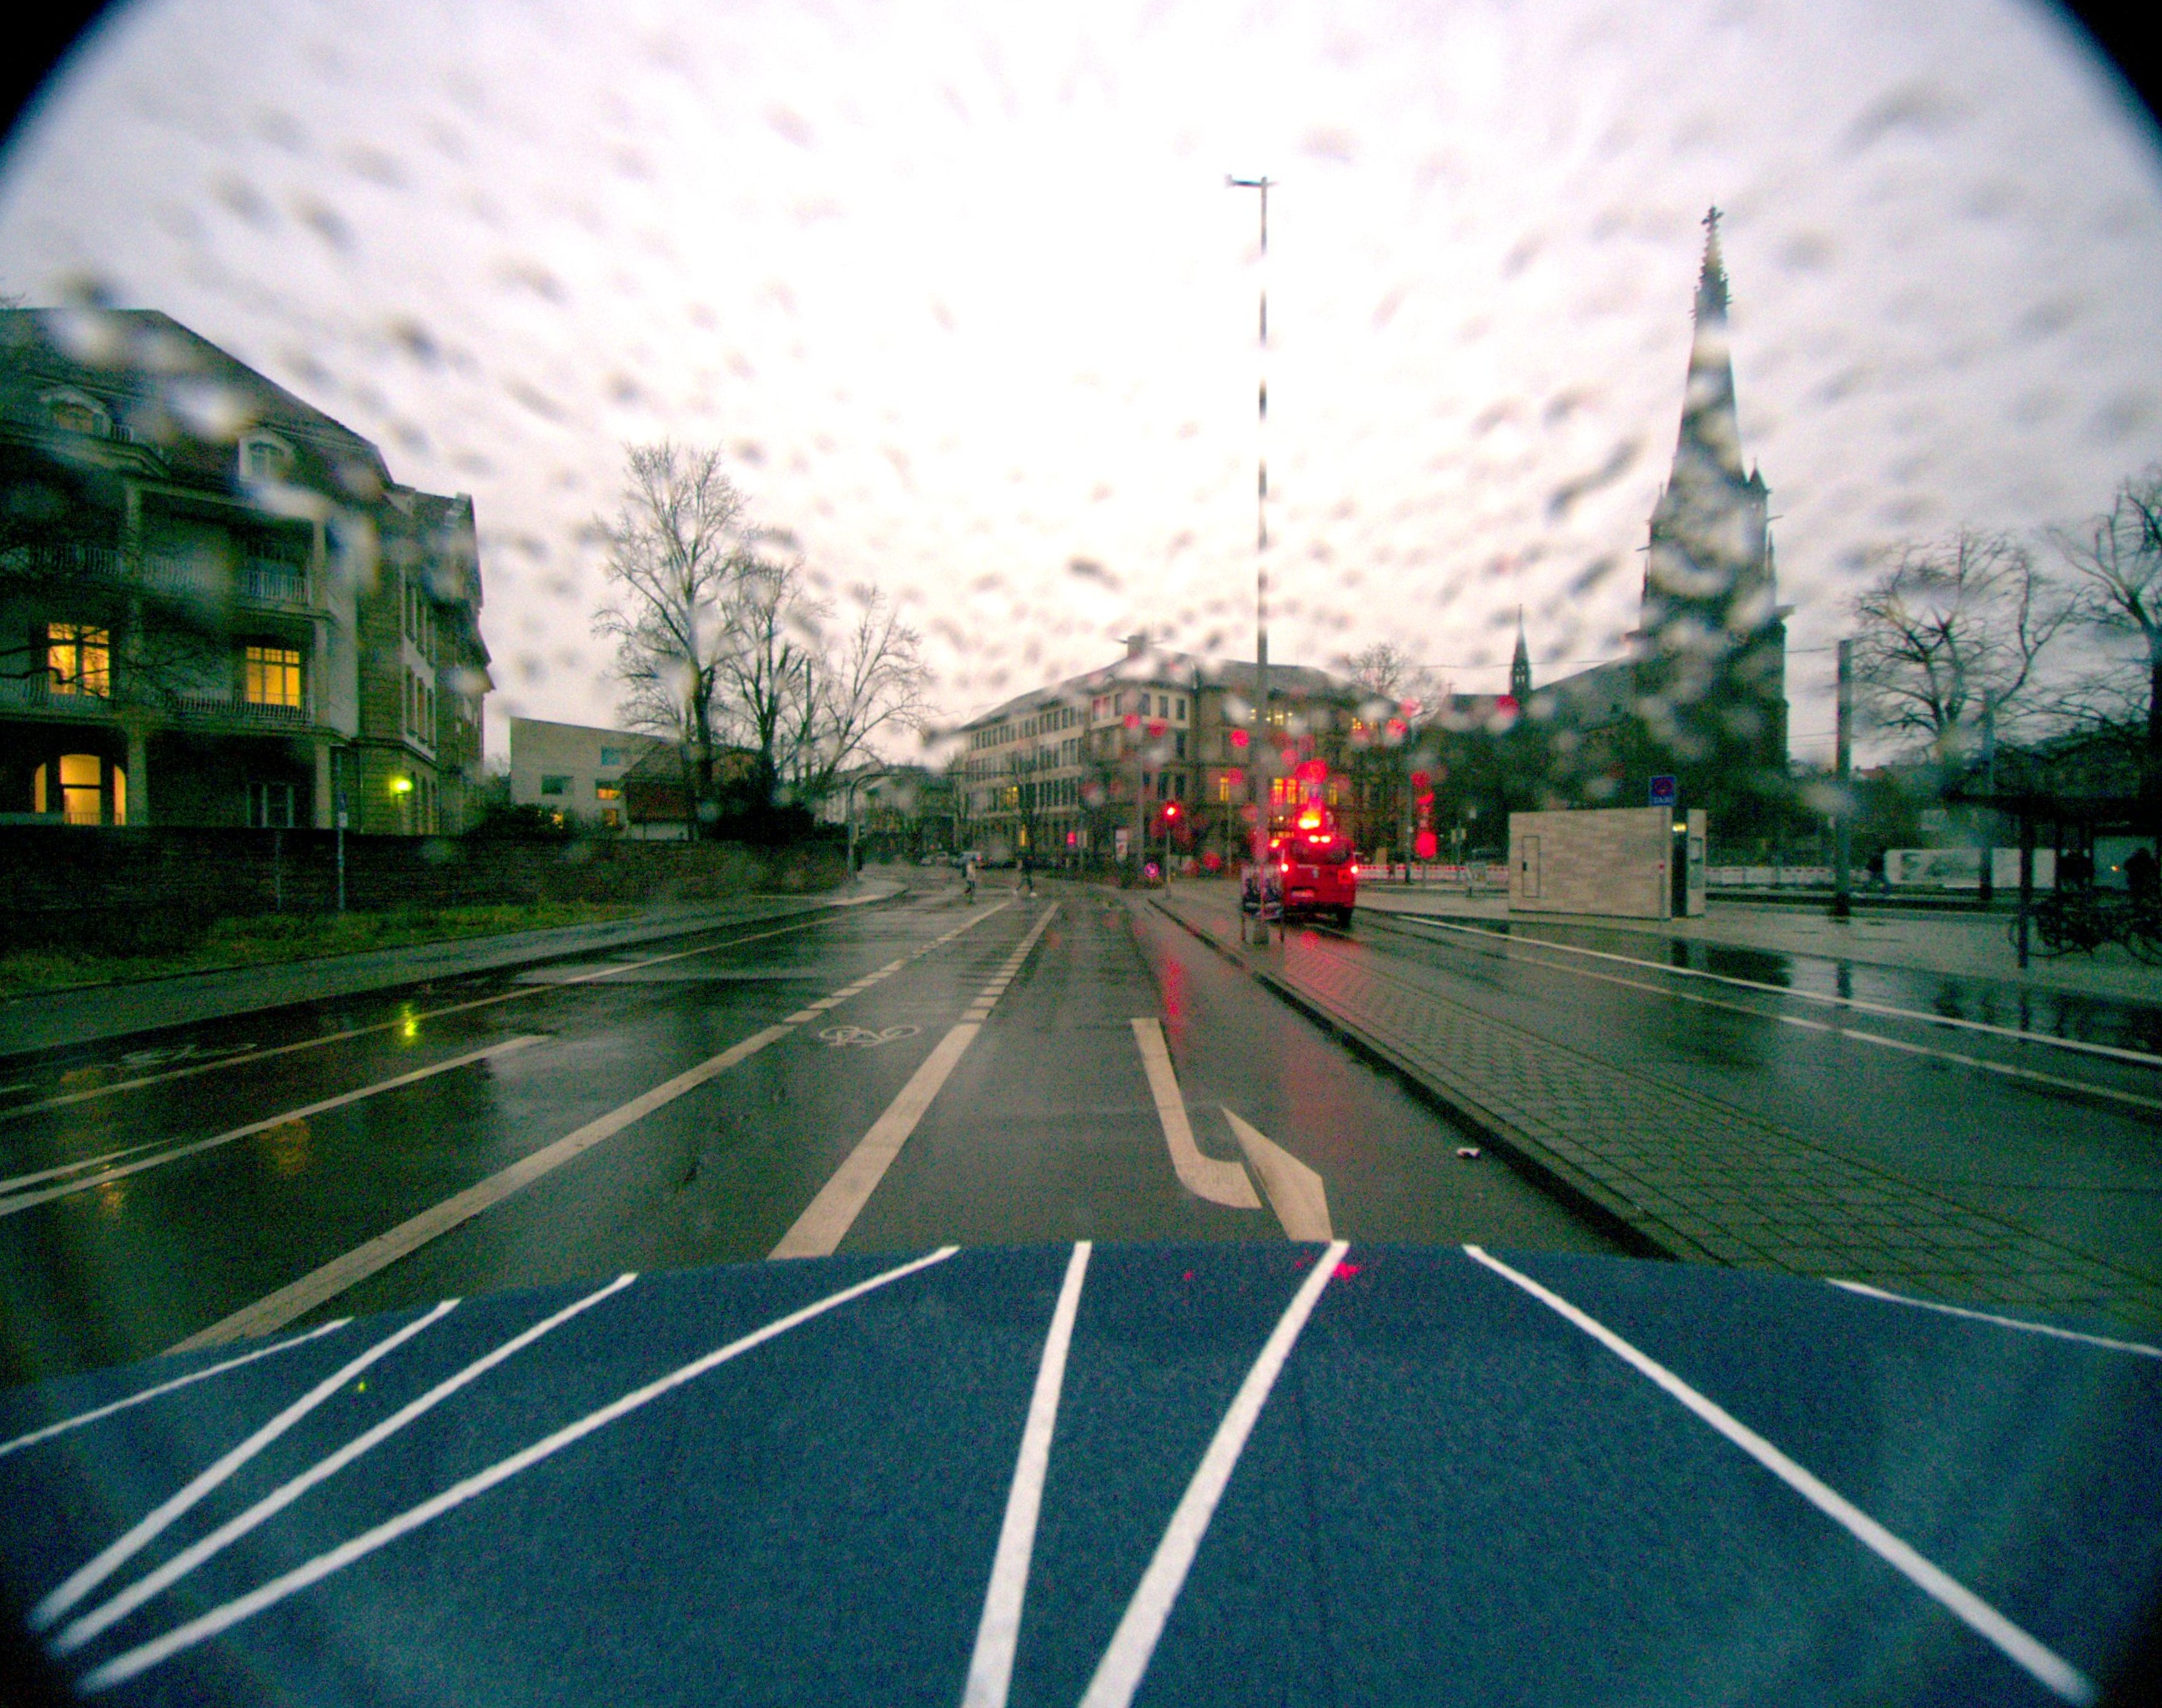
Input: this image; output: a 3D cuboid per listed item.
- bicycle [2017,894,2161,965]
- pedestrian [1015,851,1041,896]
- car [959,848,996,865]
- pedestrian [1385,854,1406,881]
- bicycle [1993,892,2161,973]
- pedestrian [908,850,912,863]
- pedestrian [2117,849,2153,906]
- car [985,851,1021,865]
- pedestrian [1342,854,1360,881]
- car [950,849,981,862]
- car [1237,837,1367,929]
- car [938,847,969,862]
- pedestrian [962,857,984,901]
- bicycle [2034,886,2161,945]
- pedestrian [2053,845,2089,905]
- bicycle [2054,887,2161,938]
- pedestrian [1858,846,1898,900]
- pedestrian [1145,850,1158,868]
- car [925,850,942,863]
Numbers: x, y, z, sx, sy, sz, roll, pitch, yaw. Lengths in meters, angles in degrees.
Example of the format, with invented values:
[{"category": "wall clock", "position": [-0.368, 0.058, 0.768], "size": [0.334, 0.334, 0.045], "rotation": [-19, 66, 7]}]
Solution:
[{"category": "bicycle", "position": [16.618, 1.210, 12.215], "size": [0.475, 0.980, 1.921], "rotation": [-2, 2, -30]}, {"category": "pedestrian", "position": [-2.248, 0.819, 32.334], "size": [1.000, 1.890, 0.673], "rotation": [1, 1, -12]}, {"category": "car", "position": [-11.842, 0.264, 87.082], "size": [3.989, 1.835, 1.888], "rotation": [-2, 1, 38]}, {"category": "pedestrian", "position": [19.878, 0.832, 48.055], "size": [0.773, 1.651, 1.208], "rotation": [-2, 1, -2]}, {"category": "bicycle", "position": [15.500, 1.177, 11.610], "size": [0.475, 1.064, 1.921], "rotation": [-2, 2, -30]}, {"category": "pedestrian", "position": [-25.705, 0.341, 113.951], "size": [0.475, 2.002, 0.547], "rotation": [1, 1, -3]}, {"category": "pedestrian", "position": [31.049, 0.688, 22.385], "size": [0.541, 1.642, 0.562], "rotation": [-3, 2, -41]}, {"category": "car", "position": [-9.279, 0.479, 90.534], "size": [1.797, 1.541, 4.007], "rotation": [-1, 1, 45]}, {"category": "pedestrian", "position": [19.017, 0.934, 53.464], "size": [0.675, 1.890, 0.971], "rotation": [0, 1, -23]}, {"category": "car", "position": [-15.090, 0.198, 99.404], "size": [1.797, 1.541, 4.007], "rotation": [-2, 1, 28]}, {"category": "car", "position": [5.475, 0.655, 19.533], "size": [1.929, 2.058, 4.643], "rotation": [1, 0, 0]}, {"category": "car", "position": [-16.995, 0.073, 101.470], "size": [2.043, 1.889, 4.007], "rotation": [-2, 1, 28]}, {"category": "pedestrian", "position": [-4.278, 0.994, 30.232], "size": [0.798, 1.713, 0.674], "rotation": [1, 1, -3]}, {"category": "bicycle", "position": [19.693, 1.165, 14.426], "size": [0.475, 0.980, 1.921], "rotation": [-2, 2, -30]}, {"category": "pedestrian", "position": [30.237, 0.639, 23.214], "size": [0.673, 1.785, 0.626], "rotation": [-3, 2, -41]}, {"category": "bicycle", "position": [20.849, 1.157, 15.016], "size": [0.475, 0.905, 1.921], "rotation": [-2, 2, -30]}, {"category": "pedestrian", "position": [27.323, 0.646, 26.043], "size": [0.671, 1.785, 0.825], "rotation": [-3, 1, -33]}, {"category": "pedestrian", "position": [6.897, 0.481, 74.381], "size": [0.829, 1.714, 0.926], "rotation": [0, 0, -37]}, {"category": "car", "position": [-20.735, 0.369, 106.844], "size": [2.000, 1.660, 3.997], "rotation": [-2, 1, -7]}]
